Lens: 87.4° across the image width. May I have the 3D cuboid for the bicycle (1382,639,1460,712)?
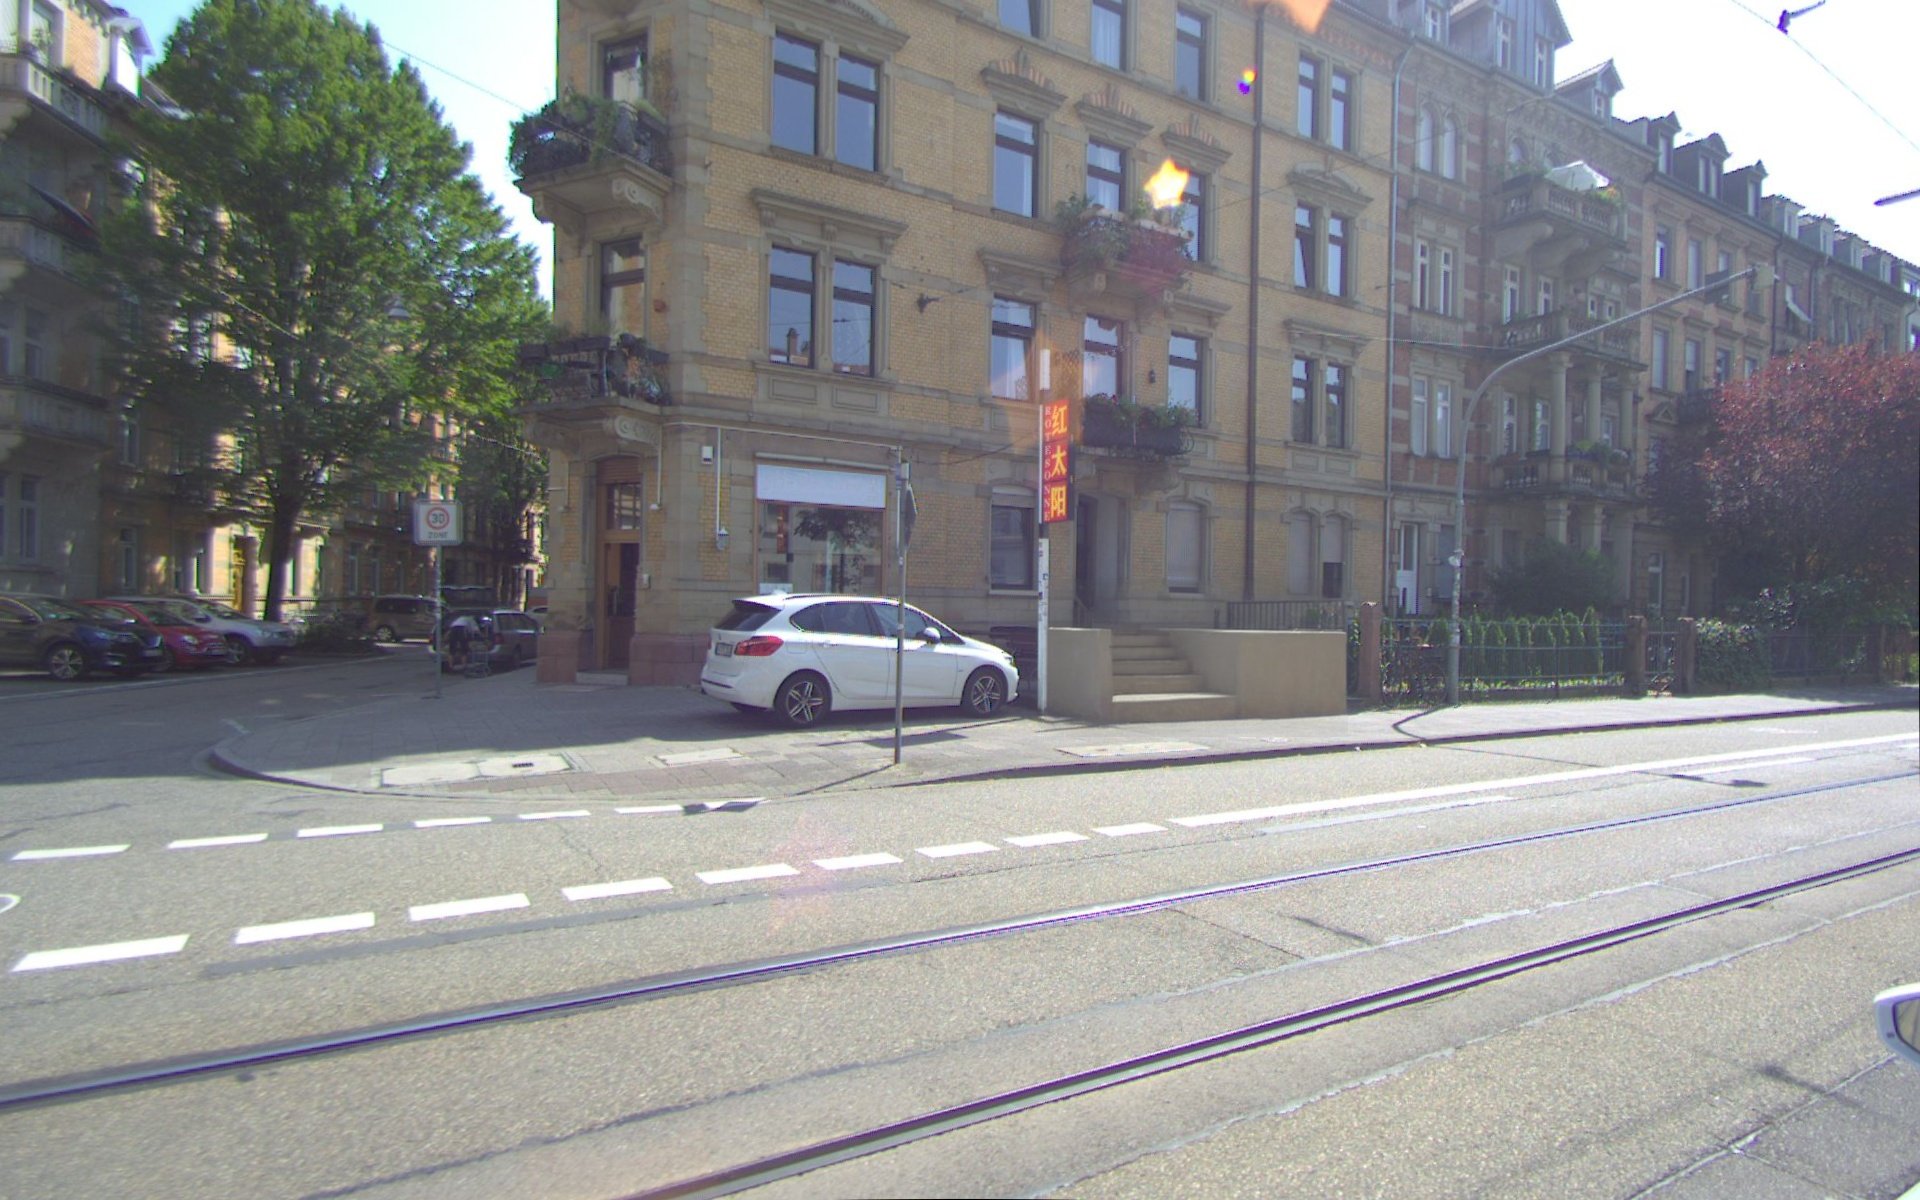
[{"bbox_3d":[7.509,1.207,16.340,1.552,1.113,0.388,1,0,-33],"label":"bicycle"}]

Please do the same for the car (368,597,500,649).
[{"bbox_3d":[-20.280,0.885,38.872,4.114,1.816,1.789,2,-1,-11],"label":"car"}]

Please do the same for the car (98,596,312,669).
[{"bbox_3d":[-18.242,0.783,24.441,3.690,1.563,1.790,2,-1,-9],"label":"car"}]

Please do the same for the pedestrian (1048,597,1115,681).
[{"bbox_3d":[2.288,0.717,18.899,0.878,1.531,0.860,1,0,-38],"label":"pedestrian"}]

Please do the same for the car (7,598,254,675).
[{"bbox_3d":[-18.006,0.793,21.982,3.690,1.496,1.790,2,-1,-9],"label":"car"}]

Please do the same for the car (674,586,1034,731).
[{"bbox_3d":[-1.323,0.704,13.233,4.315,1.615,1.981,2,-1,-34],"label":"car"}]

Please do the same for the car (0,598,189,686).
[{"bbox_3d":[-17.264,0.770,19.080,3.690,1.496,1.790,2,-1,-9],"label":"car"}]

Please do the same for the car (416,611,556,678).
[{"bbox_3d":[-11.053,0.997,23.708,1.741,1.382,3.712,2,-1,-5],"label":"car"}]

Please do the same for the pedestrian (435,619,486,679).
[{"bbox_3d":[-10.832,1.056,21.812,0.786,1.243,0.583,2,-1,-5],"label":"pedestrian"}]

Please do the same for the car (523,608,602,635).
[{"bbox_3d":[-22.905,1.255,58.050,3.930,1.364,1.789,2,-1,-11],"label":"car"}]

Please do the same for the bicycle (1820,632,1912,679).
[{"bbox_3d":[25.841,1.573,28.676,0.707,1.198,1.805,2,1,-28],"label":"bicycle"}]

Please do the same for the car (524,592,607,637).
[{"bbox_3d":[-23.885,0.867,60.930,4.301,2.508,1.962,2,-1,-11],"label":"car"}]
